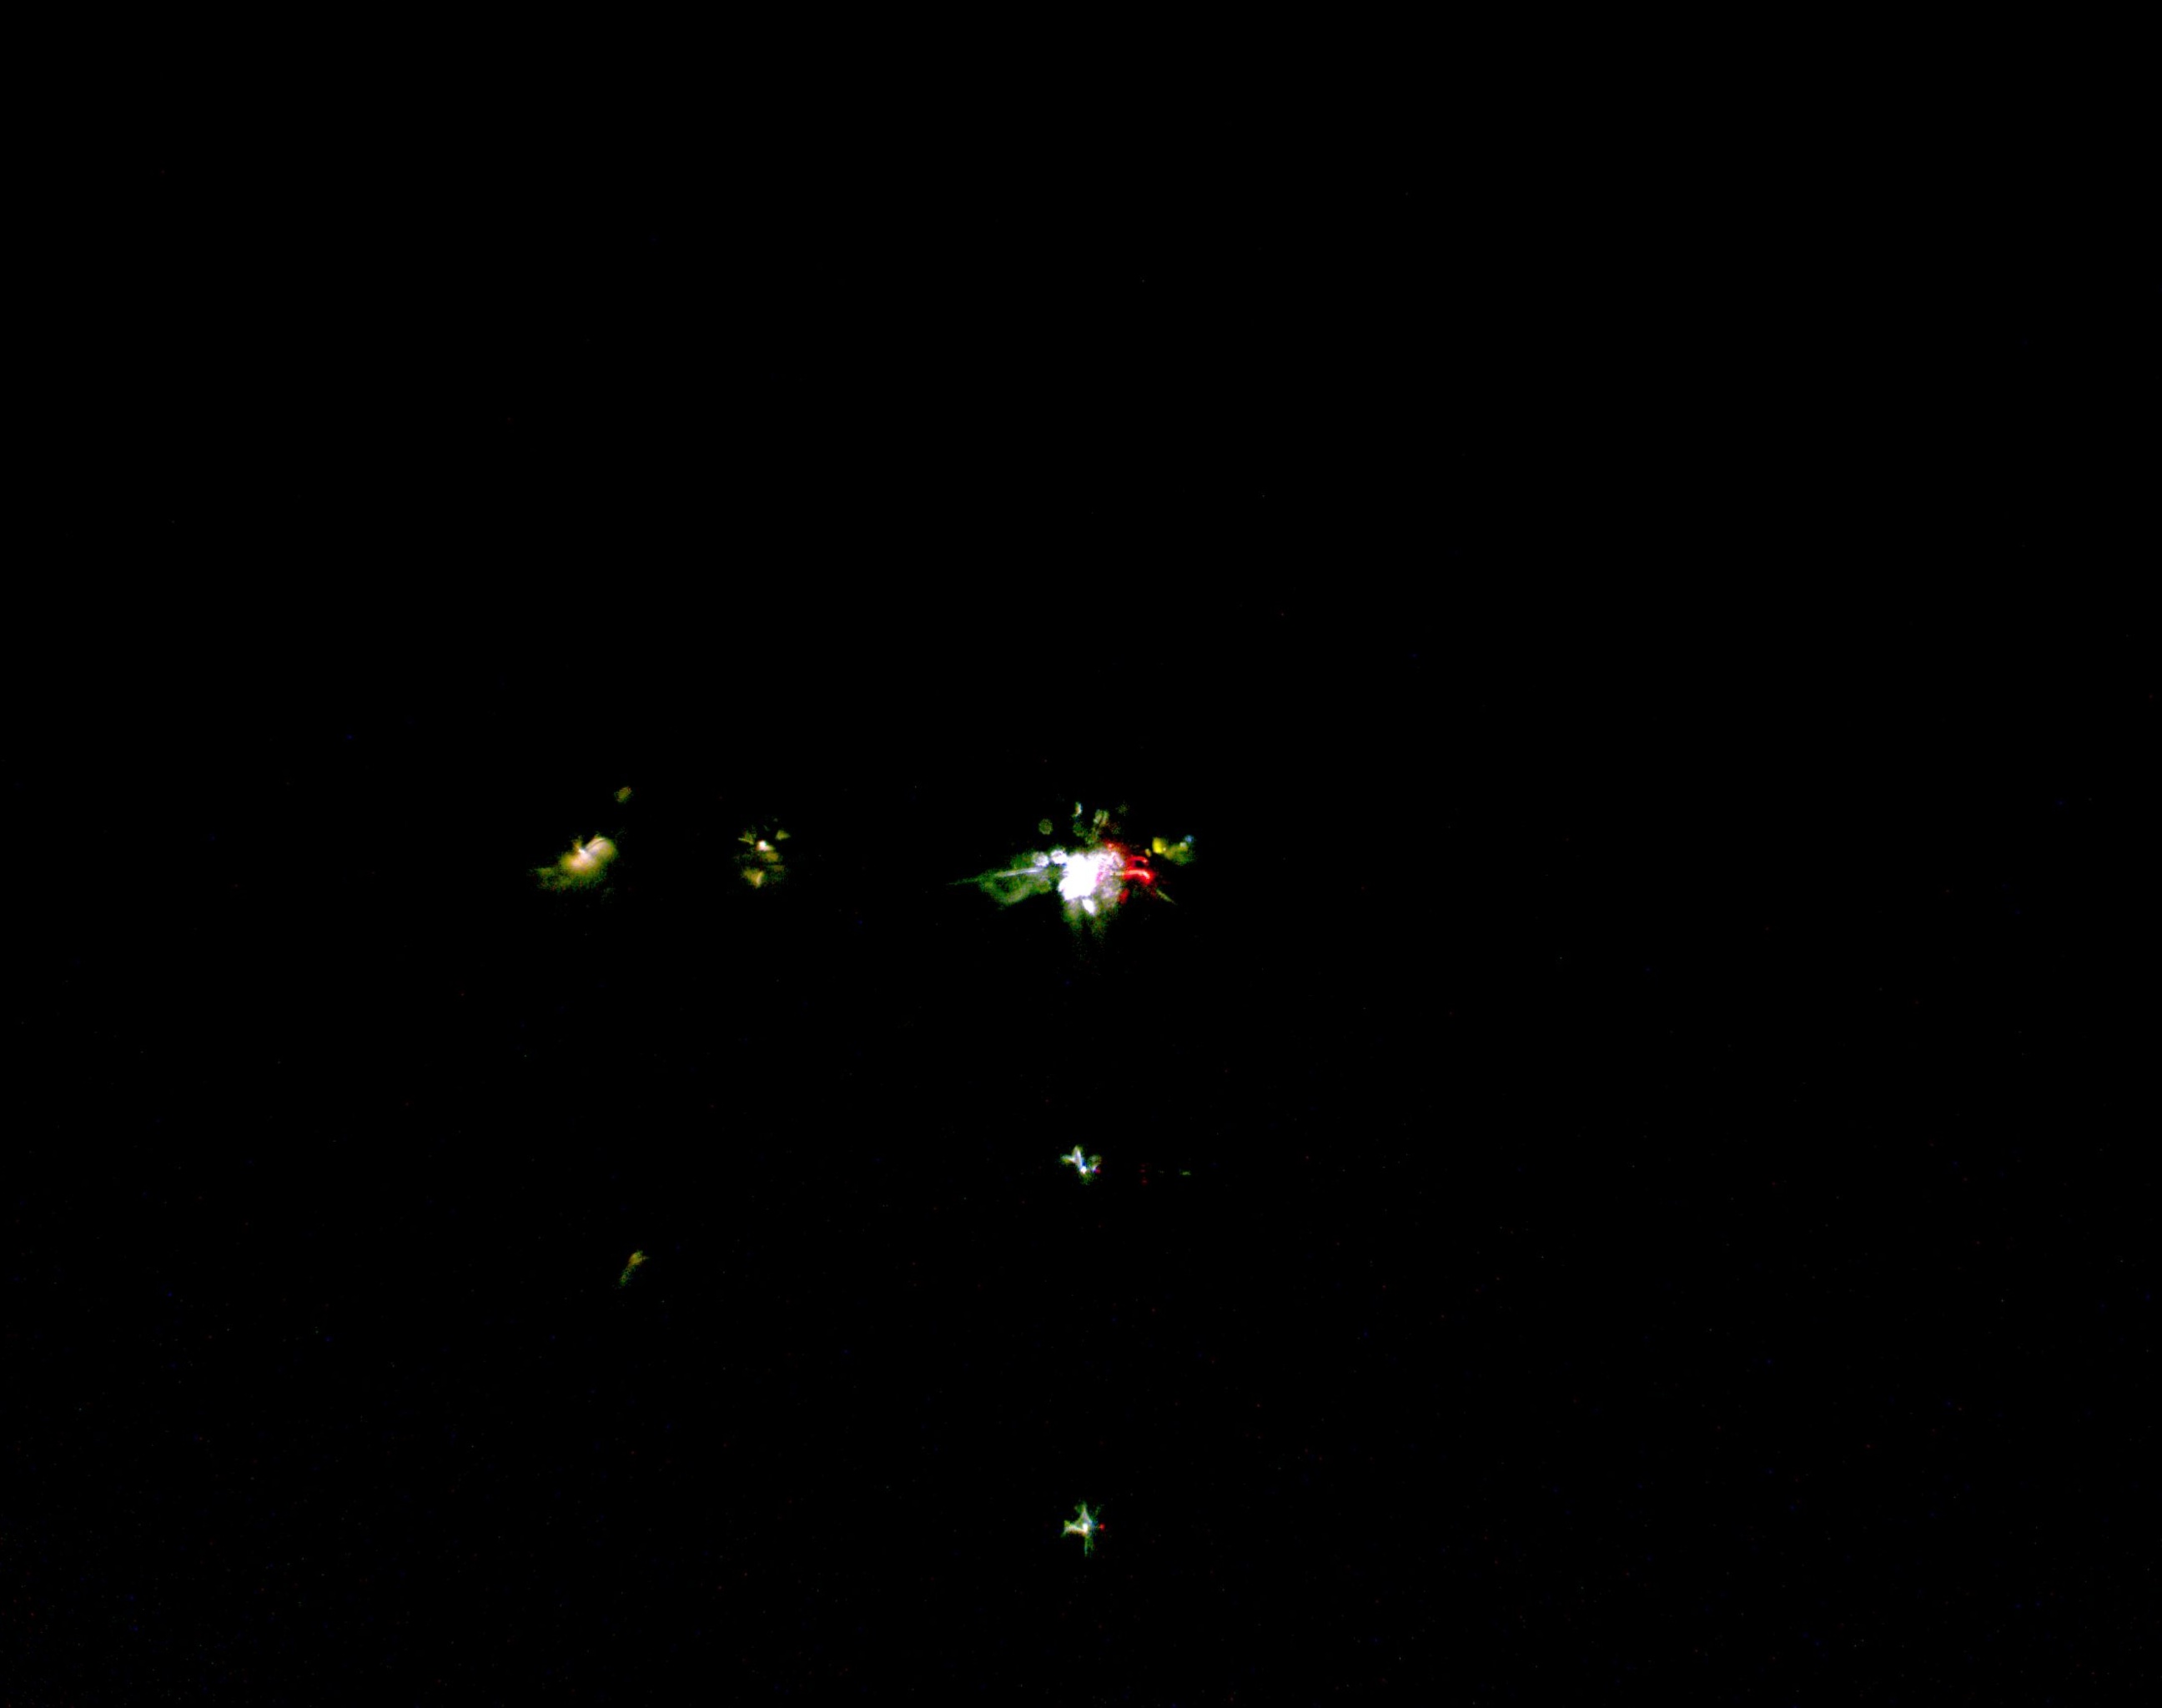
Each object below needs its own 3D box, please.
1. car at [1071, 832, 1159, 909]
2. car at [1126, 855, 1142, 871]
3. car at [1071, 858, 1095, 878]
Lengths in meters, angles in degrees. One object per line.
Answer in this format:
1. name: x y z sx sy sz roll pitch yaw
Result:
1. car: 1.220 0.542 29.696 2.705 2.307 6.103 -4 0 2
2. car: 7.038 1.226 108.284 1.986 1.914 4.003 -5 0 2
3. car: 0.181 1.218 72.378 1.881 1.637 4.159 -1 -1 3
